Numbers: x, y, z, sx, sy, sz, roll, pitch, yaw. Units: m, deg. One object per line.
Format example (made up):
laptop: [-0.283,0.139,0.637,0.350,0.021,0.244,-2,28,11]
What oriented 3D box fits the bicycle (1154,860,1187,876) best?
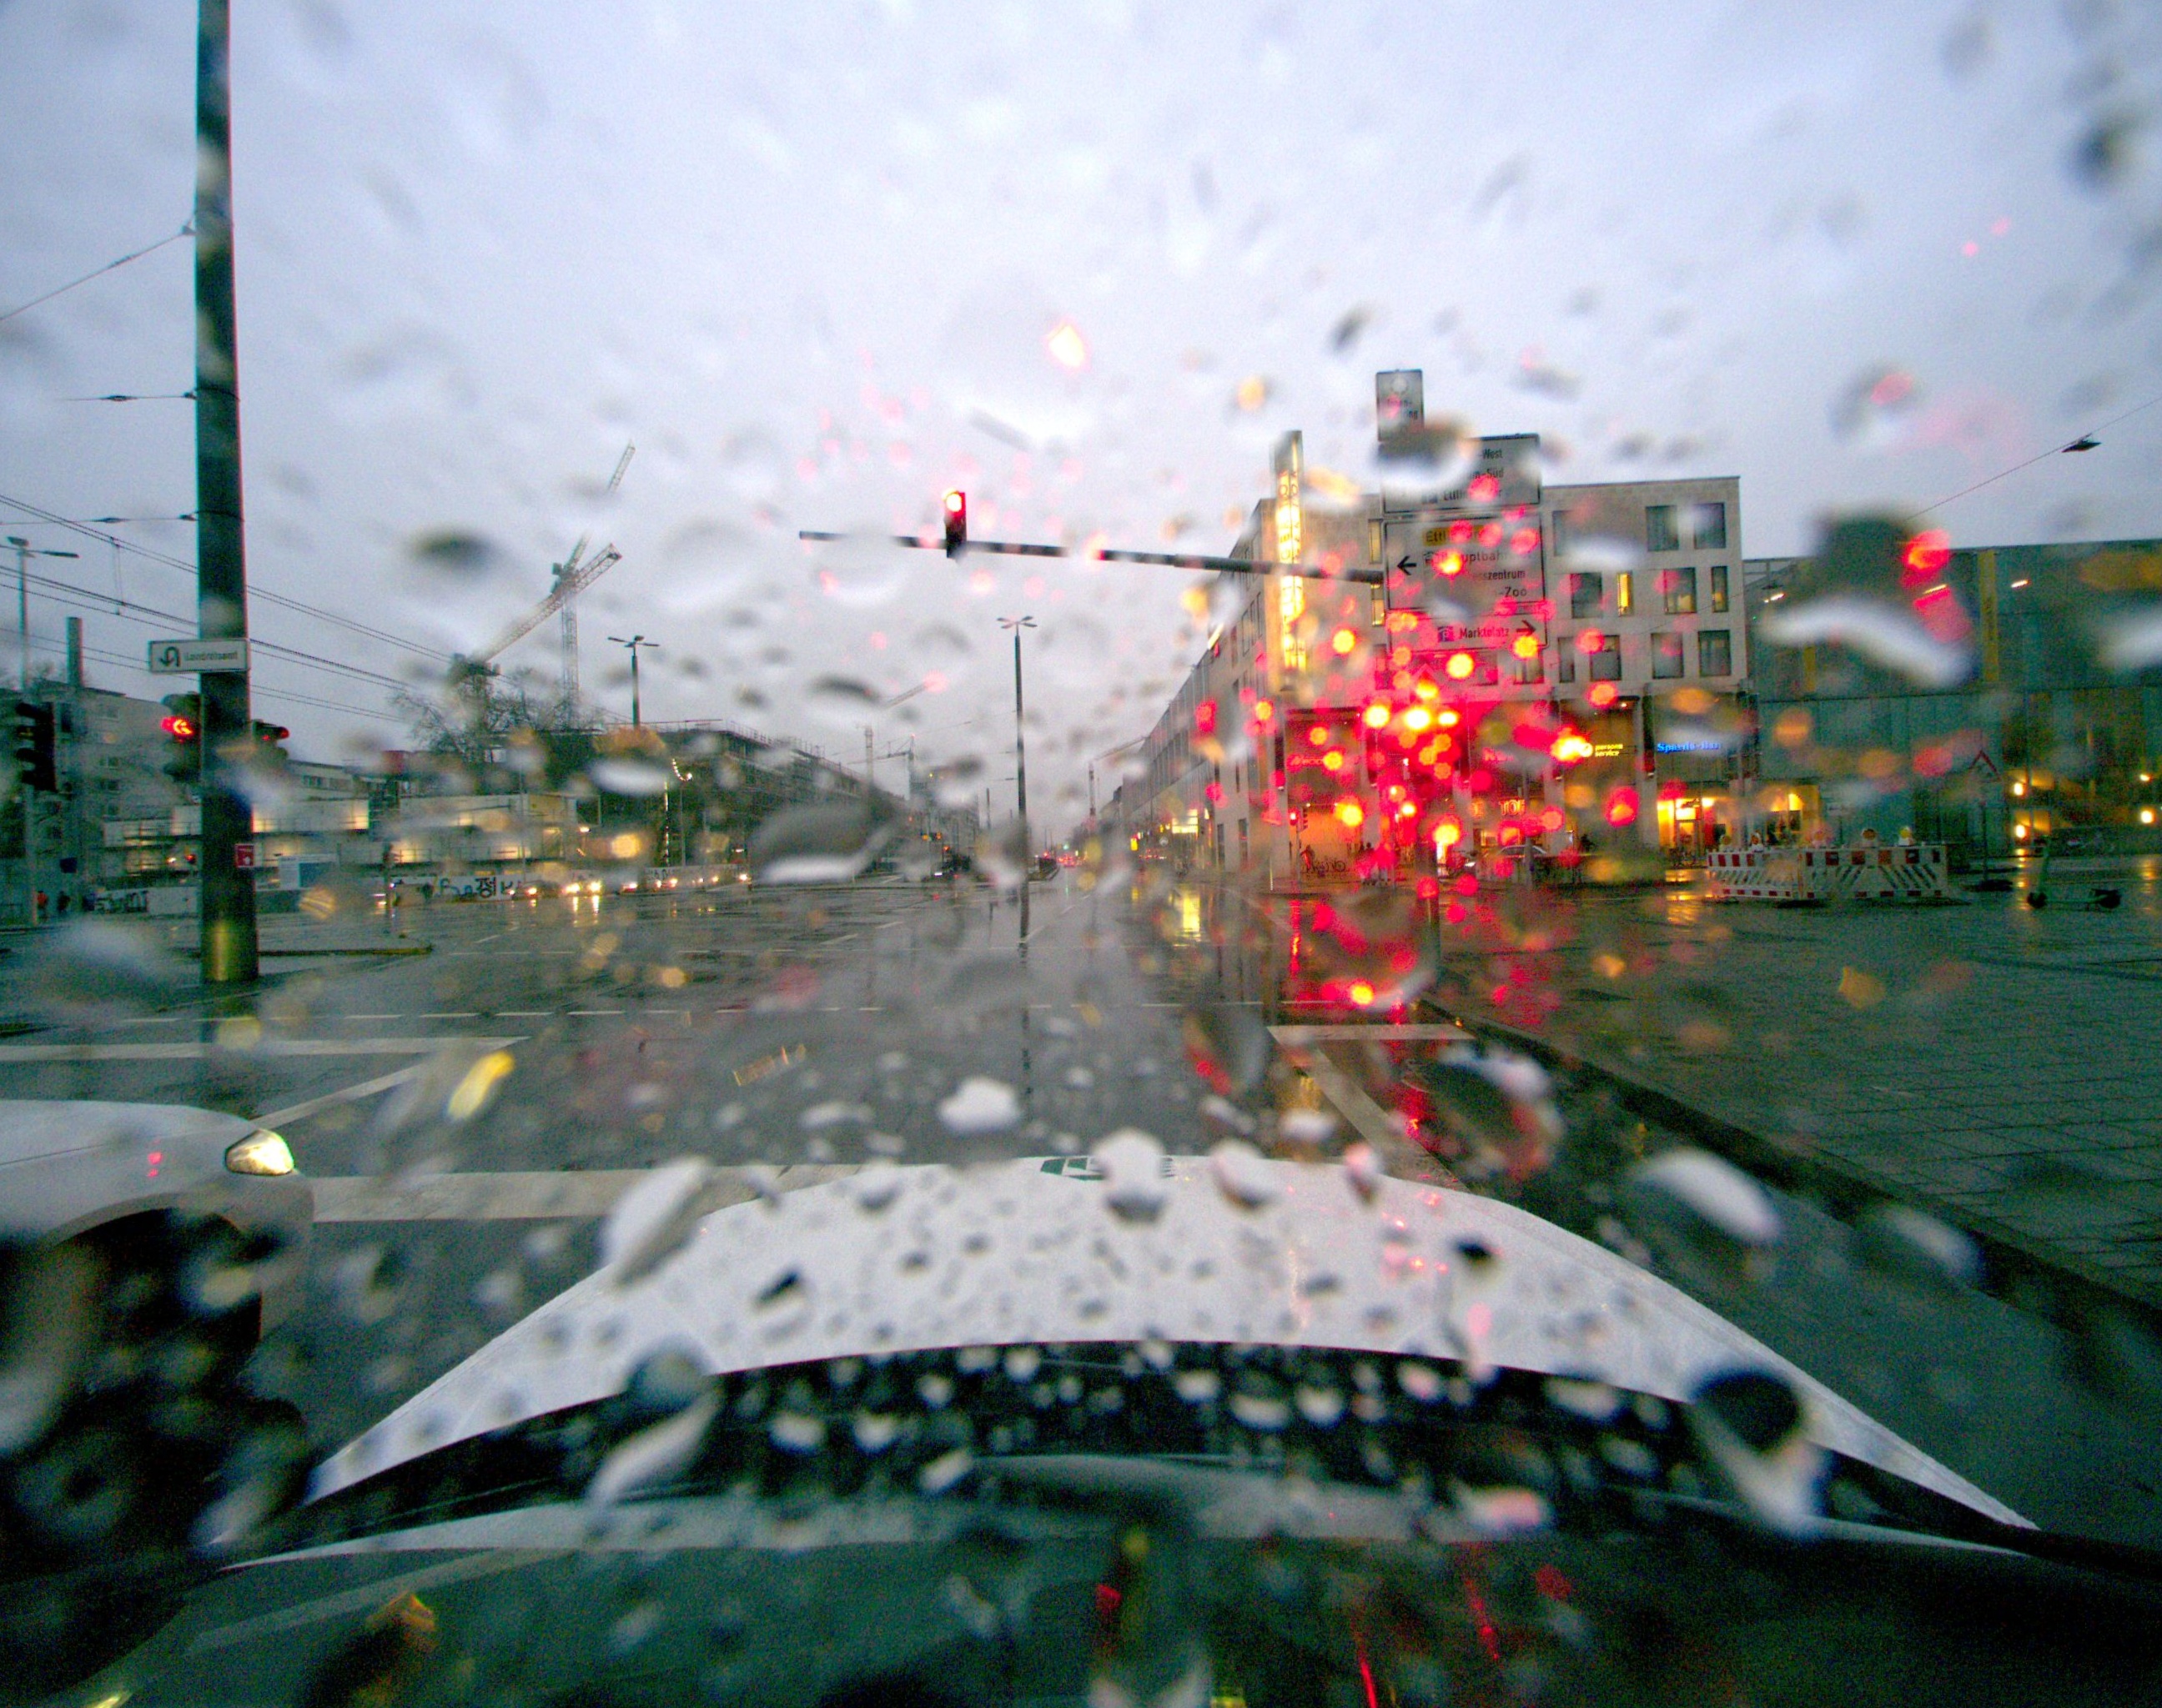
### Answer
bicycle: [6.764,1.055,61.561,2.434,1.154,0.674,-2,-1,0]

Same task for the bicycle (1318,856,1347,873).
bicycle: [15.616,0.650,50.598,1.642,1.070,0.524,0,-1,-2]

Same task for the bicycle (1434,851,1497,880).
bicycle: [19.255,0.575,40.792,2.705,1.359,0.957,-2,-1,-2]

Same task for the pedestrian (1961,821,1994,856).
pedestrian: [43.780,-0.732,39.761,0.737,1.684,0.783,0,-1,8]

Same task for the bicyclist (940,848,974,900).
bicyclist: [-4.553,0.717,29.844,1.158,1.871,0.742,0,-1,-14]

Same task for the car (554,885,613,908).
car: [-38.956,3.285,63.861,1.986,1.530,4.001,-2,0,2]

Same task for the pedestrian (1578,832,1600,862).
pedestrian: [29.376,-0.404,47.100,0.890,1.684,0.528,-2,-1,1]

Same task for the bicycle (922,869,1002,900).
bicycle: [-4.362,1.107,29.892,2.860,1.099,0.742,0,-1,-14]

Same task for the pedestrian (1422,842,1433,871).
pedestrian: [20.291,0.128,47.704,0.480,1.663,0.460,-3,-1,32]

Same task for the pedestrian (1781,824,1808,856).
pedestrian: [39.266,-0.765,44.821,0.782,1.739,0.779,-2,-1,17]

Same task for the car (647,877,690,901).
car: [-34.727,2.936,68.630,1.862,1.828,3.993,0,-1,-5]

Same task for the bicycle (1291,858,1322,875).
bicycle: [13.883,0.762,50.167,1.756,1.070,0.526,0,-1,9]

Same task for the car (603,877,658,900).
car: [-34.273,2.628,62.087,2.074,1.530,4.603,-2,0,-7]

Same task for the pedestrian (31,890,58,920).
pedestrian: [-64.089,3.143,50.354,0.786,1.776,0.726,-2,-1,8]

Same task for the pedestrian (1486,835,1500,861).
pedestrian: [28.016,-0.390,55.408,0.728,1.718,0.743,-3,-1,29]

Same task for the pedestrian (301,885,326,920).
pedestrian: [-45.660,2.884,48.475,0.861,2.014,0.624,0,-1,-6]

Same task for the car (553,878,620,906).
car: [-33.732,2.581,55.679,1.986,1.657,4.001,-2,0,2]

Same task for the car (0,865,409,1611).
car: [-3.225,0.808,0.329,2.010,1.487,4.561,-2,0,1]

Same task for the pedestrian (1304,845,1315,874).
pedestrian: [13.929,0.319,49.598,0.596,1.745,0.526,-1,-1,10]

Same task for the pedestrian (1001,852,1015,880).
pedestrian: [-4.340,0.711,48.255,0.605,1.686,0.581,-1,-1,44]

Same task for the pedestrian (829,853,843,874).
pedestrian: [-23.762,0.934,78.969,0.939,2.014,1.094,0,-1,-1]

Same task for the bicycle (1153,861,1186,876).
bicycle: [6.756,1.122,62.460,2.417,1.099,0.712,-2,-1,0]

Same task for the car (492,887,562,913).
car: [-38.609,3.158,56.846,1.986,1.530,4.001,-2,0,2]

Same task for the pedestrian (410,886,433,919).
pedestrian: [-43.701,3.206,53.970,0.872,2.165,0.763,0,-1,-7]

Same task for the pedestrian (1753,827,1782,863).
pedestrian: [32.938,-0.436,39.093,0.737,1.684,0.783,0,-1,8]

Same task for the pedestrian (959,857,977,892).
pedestrian: [-6.605,1.191,47.719,0.776,2.014,0.732,-1,-1,44]

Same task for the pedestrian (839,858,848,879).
pedestrian: [-22.223,1.362,76.235,0.696,1.881,0.553,0,-1,1]

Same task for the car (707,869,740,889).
car: [-35.376,2.449,80.679,1.992,1.790,3.990,0,-1,-7]

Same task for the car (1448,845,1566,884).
car: [17.988,0.442,34.566,3.970,1.618,2.001,0,-1,3]

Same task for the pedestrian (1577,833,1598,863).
pedestrian: [28.649,-0.349,46.039,0.737,1.684,0.783,0,-1,8]

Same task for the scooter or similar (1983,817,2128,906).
scooter or similar: [15.686,0.112,13.164,0.590,1.352,1.495,0,0,2]

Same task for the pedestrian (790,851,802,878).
pedestrian: [-24.310,0.889,69.455,0.762,2.323,0.763,0,-2,1]

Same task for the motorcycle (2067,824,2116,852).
motorcycle: [48.279,-0.755,38.925,1.482,1.352,0.595,0,0,5]

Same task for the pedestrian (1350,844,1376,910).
pedestrian: [10.586,0.856,30.559,0.712,2.441,0.758,0,-1,1]

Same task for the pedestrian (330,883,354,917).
pedestrian: [-44.858,2.792,49.449,0.781,2.014,0.748,0,-1,6]

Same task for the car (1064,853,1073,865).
car: [-2.157,0.796,141.767,1.572,2.013,3.170,-2,0,0]

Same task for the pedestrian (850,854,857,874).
pedestrian: [-22.809,0.987,81.710,0.569,1.968,0.664,1,-1,-4]

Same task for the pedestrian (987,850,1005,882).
pedestrian: [-4.886,0.666,46.792,0.826,1.831,0.778,0,-1,-29]

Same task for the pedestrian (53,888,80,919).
pedestrian: [-64.037,3.094,51.409,0.788,1.902,0.717,-2,-1,0]

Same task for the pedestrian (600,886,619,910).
pedestrian: [-27.537,2.571,47.531,0.721,1.388,0.729,-1,-1,35]

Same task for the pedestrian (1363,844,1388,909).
pedestrian: [11.260,0.856,31.161,0.687,2.441,0.758,0,-1,1]

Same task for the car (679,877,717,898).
car: [-35.306,3.087,75.116,1.992,1.790,3.990,0,-1,-7]

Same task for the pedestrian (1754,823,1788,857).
pedestrian: [35.271,-0.704,41.648,1.026,1.684,0.824,0,-1,1]

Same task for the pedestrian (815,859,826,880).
pedestrian: [-23.317,1.400,72.959,0.762,1.898,0.763,0,-2,1]

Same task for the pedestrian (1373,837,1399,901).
pedestrian: [11.797,0.568,31.484,0.691,2.448,0.792,0,-1,1]

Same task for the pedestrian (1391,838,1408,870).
pedestrian: [20.561,0.022,52.573,0.841,2.013,0.700,-2,0,10]

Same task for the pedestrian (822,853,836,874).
pedestrian: [-23.903,0.921,77.250,0.939,2.014,1.094,0,-1,-1]

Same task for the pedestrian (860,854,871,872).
pedestrian: [-24.230,1.038,91.561,0.939,2.014,1.094,0,-1,-1]
